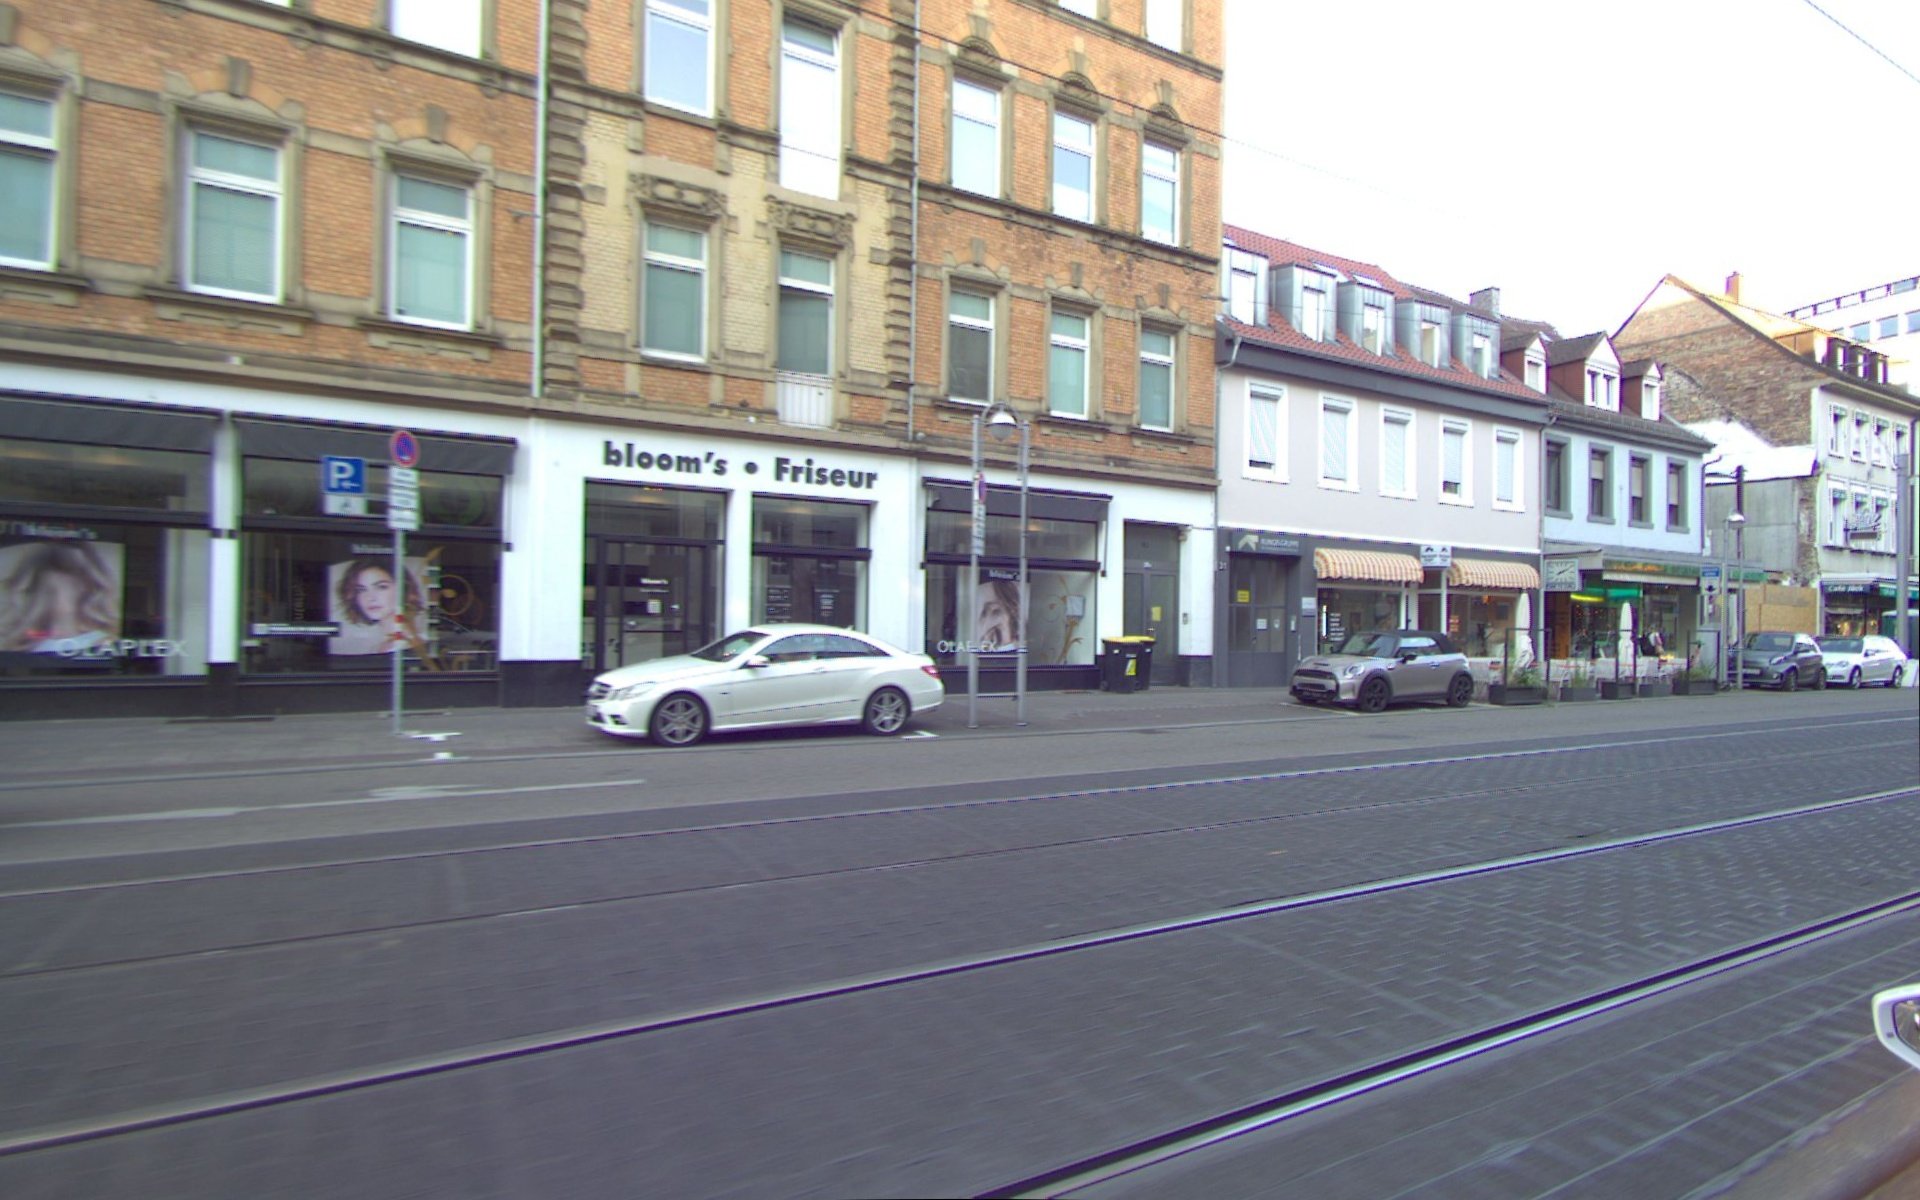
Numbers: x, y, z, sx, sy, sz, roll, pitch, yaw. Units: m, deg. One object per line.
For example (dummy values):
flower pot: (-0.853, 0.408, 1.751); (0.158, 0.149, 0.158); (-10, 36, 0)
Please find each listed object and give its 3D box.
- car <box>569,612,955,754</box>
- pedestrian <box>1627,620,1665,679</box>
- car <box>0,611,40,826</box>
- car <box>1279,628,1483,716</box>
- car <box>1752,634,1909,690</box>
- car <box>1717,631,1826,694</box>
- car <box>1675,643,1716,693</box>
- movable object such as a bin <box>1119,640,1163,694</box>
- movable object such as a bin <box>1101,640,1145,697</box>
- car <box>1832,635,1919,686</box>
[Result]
car: (-2.497, 0.985, 13.096); (4.561, 1.472, 1.857); (2, 1, -33)
pedestrian: (19.812, 1.431, 29.002); (0.686, 1.666, 0.659); (1, 0, -29)
car: (-8.440, 0.755, 5.531); (4.595, 1.472, 1.984); (2, -2, -31)
car: (8.056, 1.312, 19.176); (3.766, 1.459, 1.591); (1, 1, -30)
car: (25.463, 1.780, 29.355); (4.763, 1.472, 1.985); (2, -1, -29)
car: (21.780, 1.647, 26.952); (2.764, 1.598, 1.469); (2, -1, -32)
car: (18.867, 1.735, 25.778); (0.336, 1.251, 0.779); (1, -1, -31)
movable object such as a bin: (3.653, 1.348, 20.275); (0.686, 1.047, 0.492); (1, 1, -31)
movable object such as a bin: (3.186, 1.332, 19.611); (0.652, 1.057, 0.515); (1, 1, -30)
car: (29.842, 1.876, 31.871); (4.277, 1.472, 1.985); (2, -1, -29)
